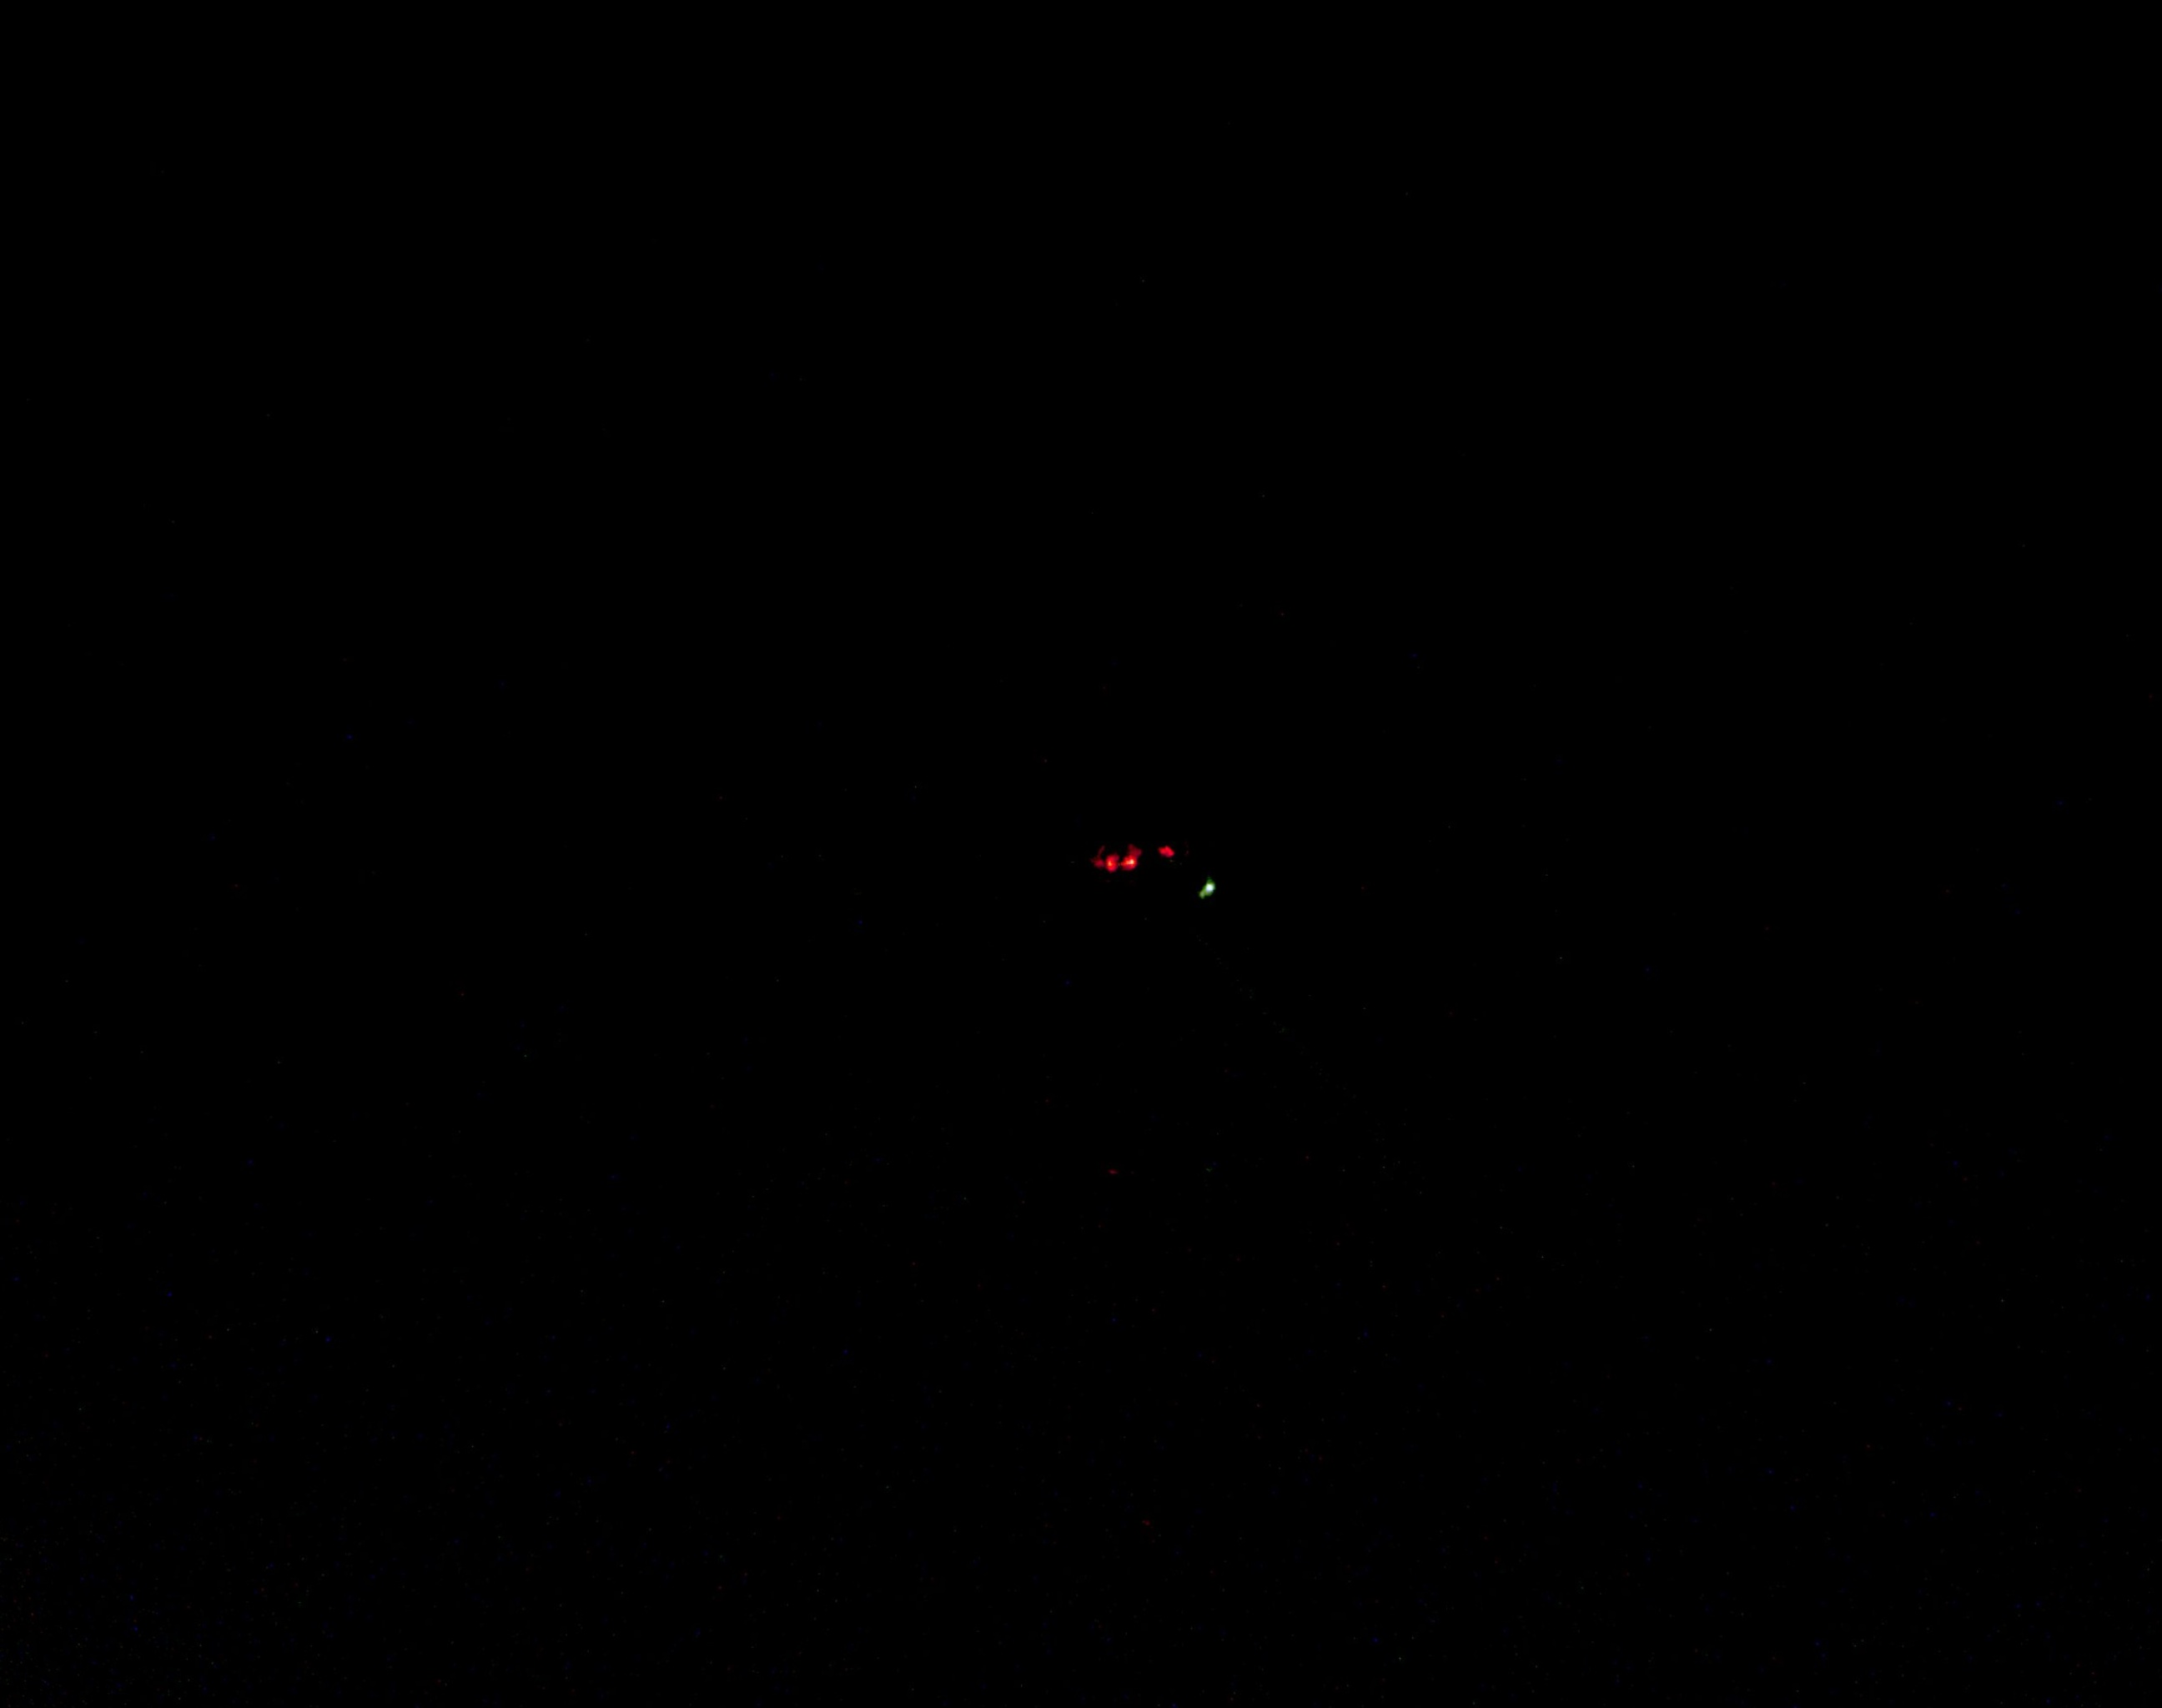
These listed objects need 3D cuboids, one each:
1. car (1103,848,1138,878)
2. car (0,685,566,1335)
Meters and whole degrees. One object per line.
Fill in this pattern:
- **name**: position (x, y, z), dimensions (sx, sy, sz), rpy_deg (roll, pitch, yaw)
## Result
- **car**: position (2.469, 0.531, 49.979), dimensions (1.833, 1.740, 4.008), rpy_deg (-2, 0, 7)
- **car**: position (-4.338, 0.518, 2.952), dimensions (1.985, 2.013, 4.278), rpy_deg (-3, 0, 3)
